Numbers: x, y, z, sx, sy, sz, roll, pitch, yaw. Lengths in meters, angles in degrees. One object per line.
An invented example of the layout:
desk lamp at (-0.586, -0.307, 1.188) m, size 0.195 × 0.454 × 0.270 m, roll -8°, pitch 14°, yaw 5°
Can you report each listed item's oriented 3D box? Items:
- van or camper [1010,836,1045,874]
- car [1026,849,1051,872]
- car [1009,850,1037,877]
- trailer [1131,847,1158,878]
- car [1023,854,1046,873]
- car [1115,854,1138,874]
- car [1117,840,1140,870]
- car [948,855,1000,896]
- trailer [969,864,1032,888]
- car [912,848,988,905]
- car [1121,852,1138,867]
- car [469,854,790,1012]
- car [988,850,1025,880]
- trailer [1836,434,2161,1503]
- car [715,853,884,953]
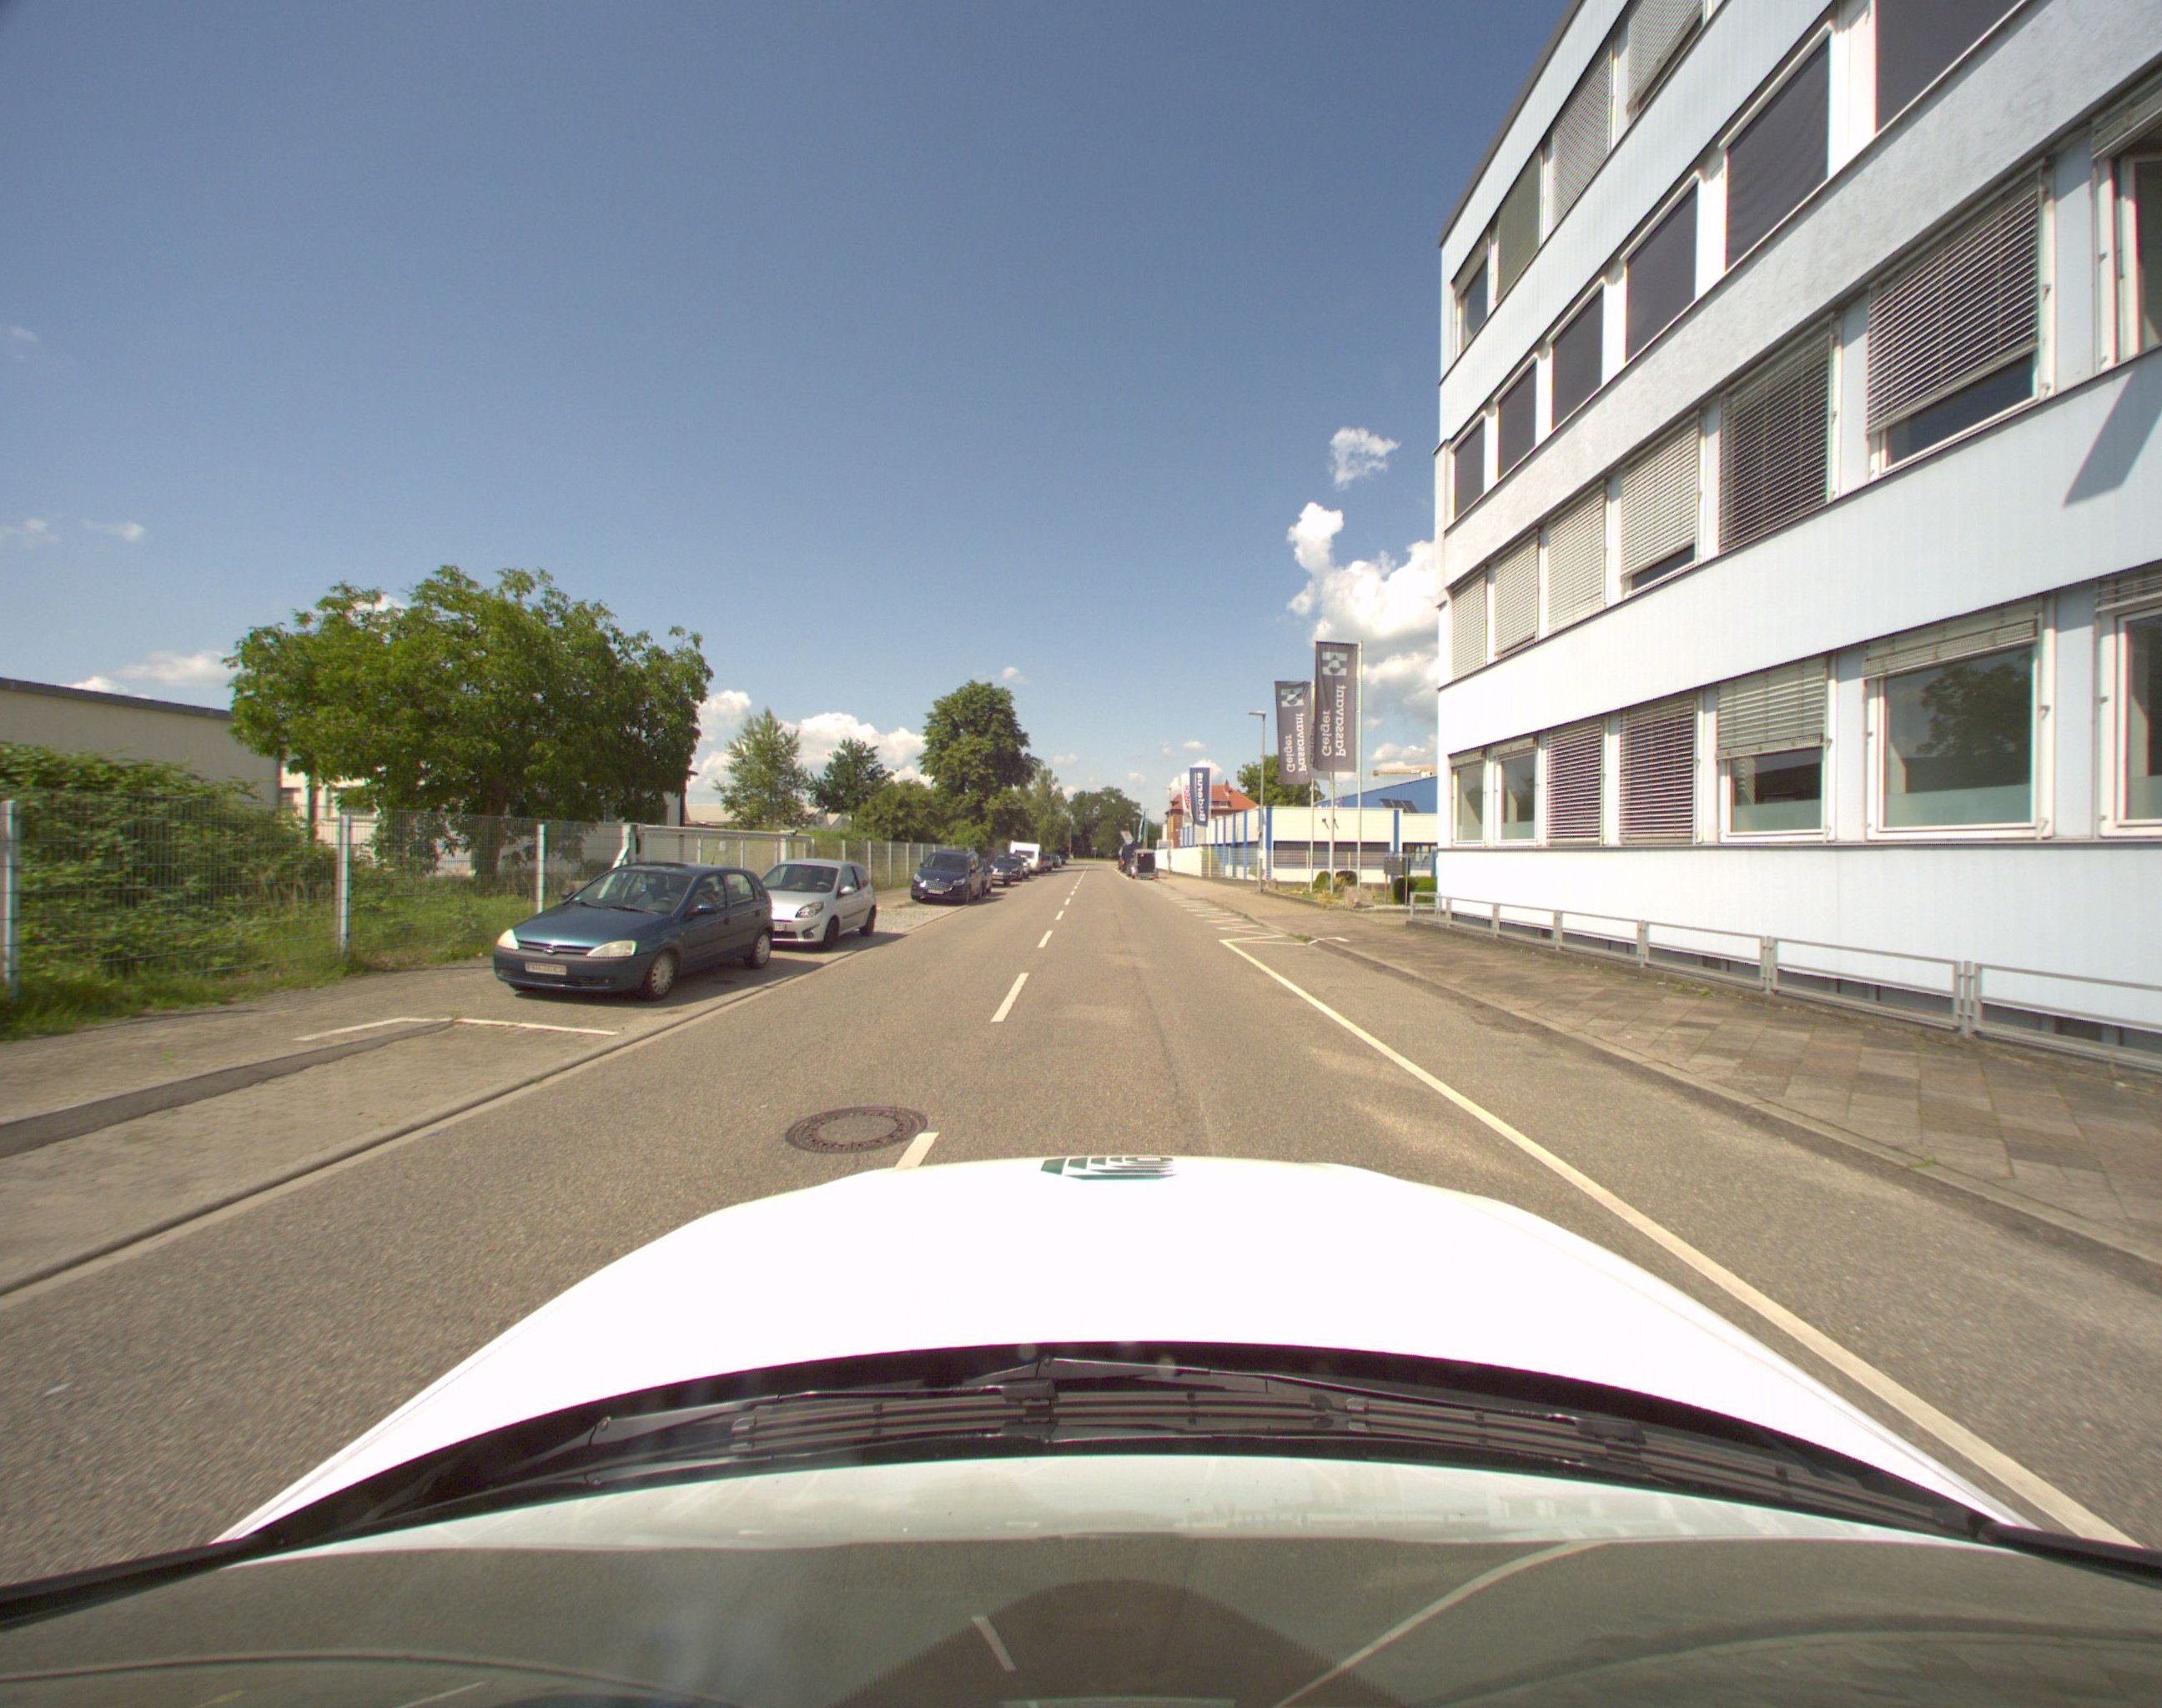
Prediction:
van or camper at (-4.319, 0.111, 66.779) m, size 2.256 × 2.803 × 6.831 m, roll 4°, pitch 0°, yaw -1°
car at (-4.107, 0.644, 79.146) m, size 1.892 × 1.954 × 4.958 m, roll 6°, pitch 0°, yaw 1°
car at (-4.041, 0.667, 57.299) m, size 1.679 × 1.692 × 4.441 m, roll 5°, pitch 0°, yaw -2°
trailer at (4.340, 0.570, 55.802) m, size 1.596 × 2.037 × 2.741 m, roll 2°, pitch 0°, yaw 0°
car at (-4.112, 0.821, 72.975) m, size 1.619 × 1.532 × 4.269 m, roll 5°, pitch 0°, yaw 1°
car at (3.455, 0.748, 62.041) m, size 1.567 × 1.507 × 4.133 m, roll 1°, pitch 0°, yaw 1°
car at (4.585, 0.091, 79.397) m, size 1.931 × 2.748 × 6.155 m, roll -2°, pitch 0°, yaw 1°
car at (-4.324, 0.828, 33.401) m, size 1.572 × 1.512 × 4.199 m, roll 2°, pitch 0°, yaw -1°
trailer at (-4.105, 1.119, 42.841) m, size 2.262 × 0.883 × 7.135 m, roll 5°, pitch 0°, yaw 2°
car at (-4.396, 0.708, 28.033) m, size 1.795 × 1.749 × 4.713 m, roll 1°, pitch 0°, yaw 0°
car at (5.439, 0.635, 91.740) m, size 1.818 × 1.664 × 4.557 m, roll 0°, pitch 0°, yaw 1°
car at (-5.188, 0.785, 10.018) m, size 1.562 × 1.399 × 3.801 m, roll 5°, pitch 1°, yaw 3°
car at (-4.623, 0.643, 50.869) m, size 1.821 × 1.793 × 4.735 m, roll 1°, pitch 0°, yaw 0°
trailer at (3.402, 0.282, 0.261) m, size 1.860 × 2.553 × 5.077 m, roll 1°, pitch 0°, yaw 4°
car at (-4.860, 0.773, 14.636) m, size 1.610 × 1.483 × 3.710 m, roll 3°, pitch 0°, yaw 1°
